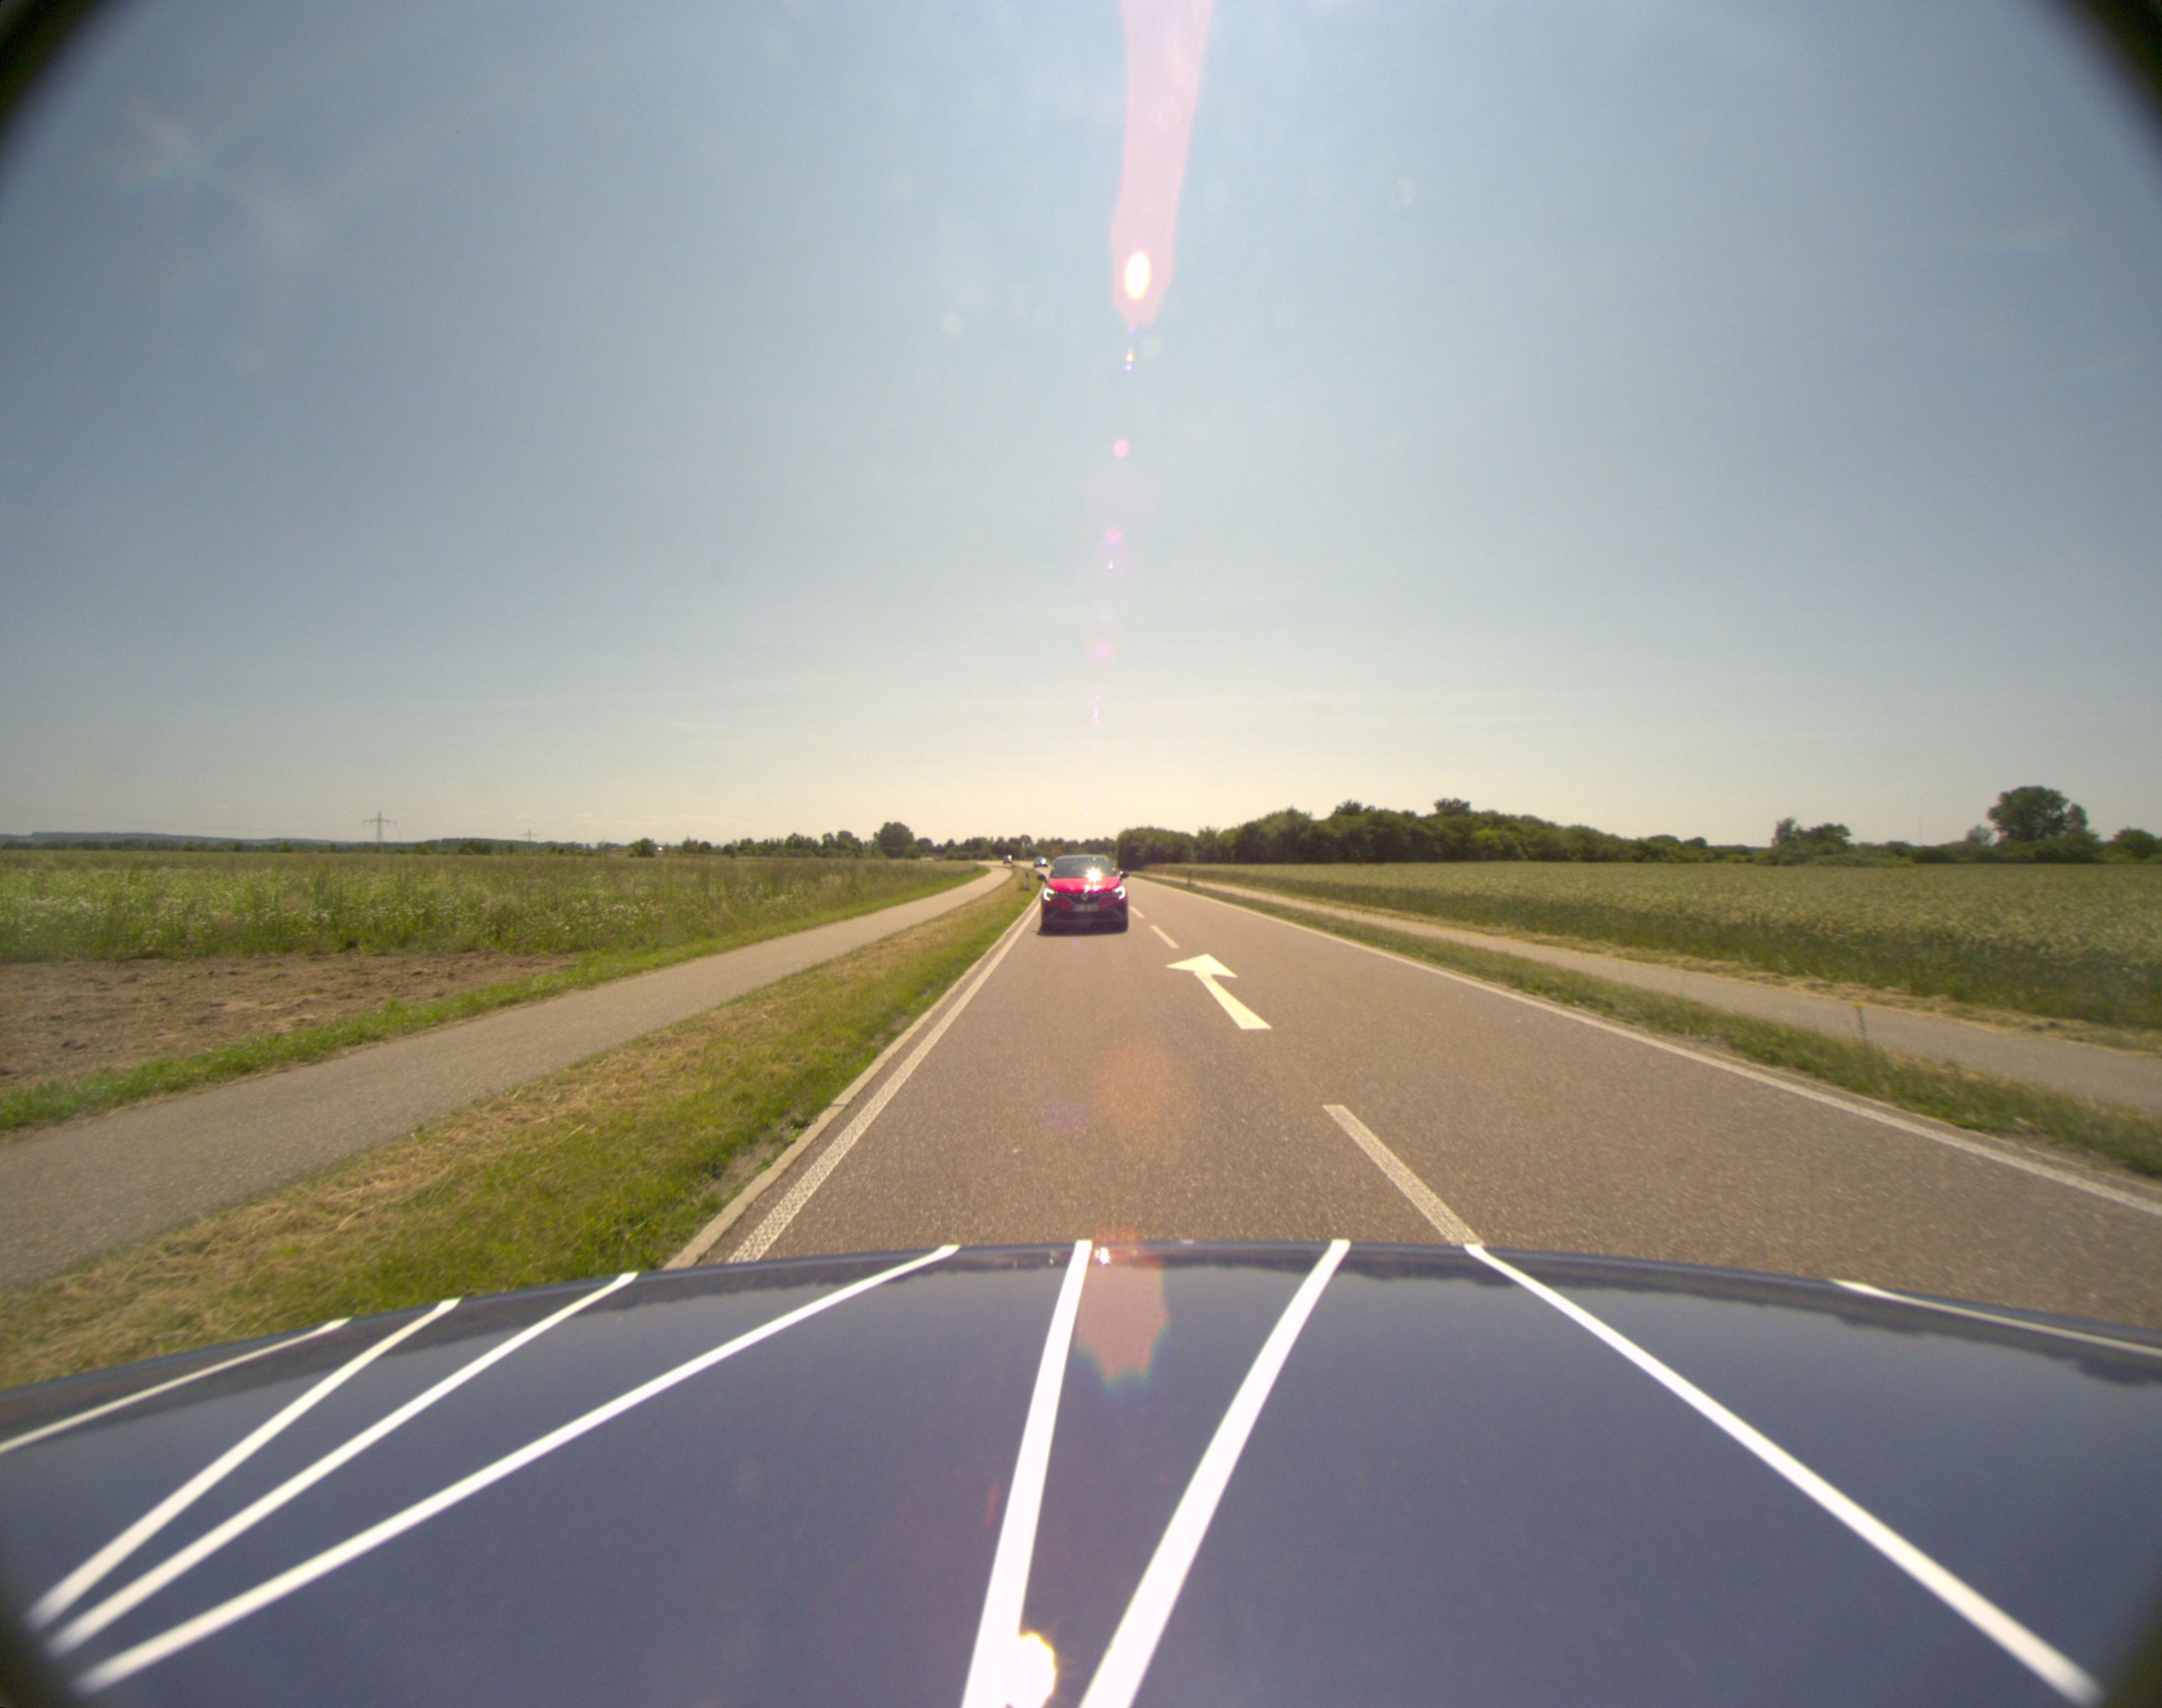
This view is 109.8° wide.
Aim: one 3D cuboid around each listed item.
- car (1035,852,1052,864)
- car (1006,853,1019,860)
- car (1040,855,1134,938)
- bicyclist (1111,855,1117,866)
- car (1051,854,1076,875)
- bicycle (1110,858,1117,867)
[{"bbox_3d":[-5.564,0.592,111.901,1.984,1.587,5.398,-1,0,-8],"label":"car"},{"bbox_3d":[-15.069,0.552,166.714,1.985,1.587,5.395,-1,0,-14],"label":"car"},{"bbox_3d":[0.076,0.843,17.438,1.837,1.587,4.721,-1,0,-1],"label":"car"},{"bbox_3d":[4.460,0.844,103.648,0.666,1.430,0.822,-1,1,-6],"label":"bicyclist"},{"bbox_3d":[-1.420,0.865,63.174,1.983,1.587,5.401,-1,0,0],"label":"car"},{"bbox_3d":[4.467,1.166,103.739,0.696,1.169,1.962,0,0,-6],"label":"bicycle"}]
